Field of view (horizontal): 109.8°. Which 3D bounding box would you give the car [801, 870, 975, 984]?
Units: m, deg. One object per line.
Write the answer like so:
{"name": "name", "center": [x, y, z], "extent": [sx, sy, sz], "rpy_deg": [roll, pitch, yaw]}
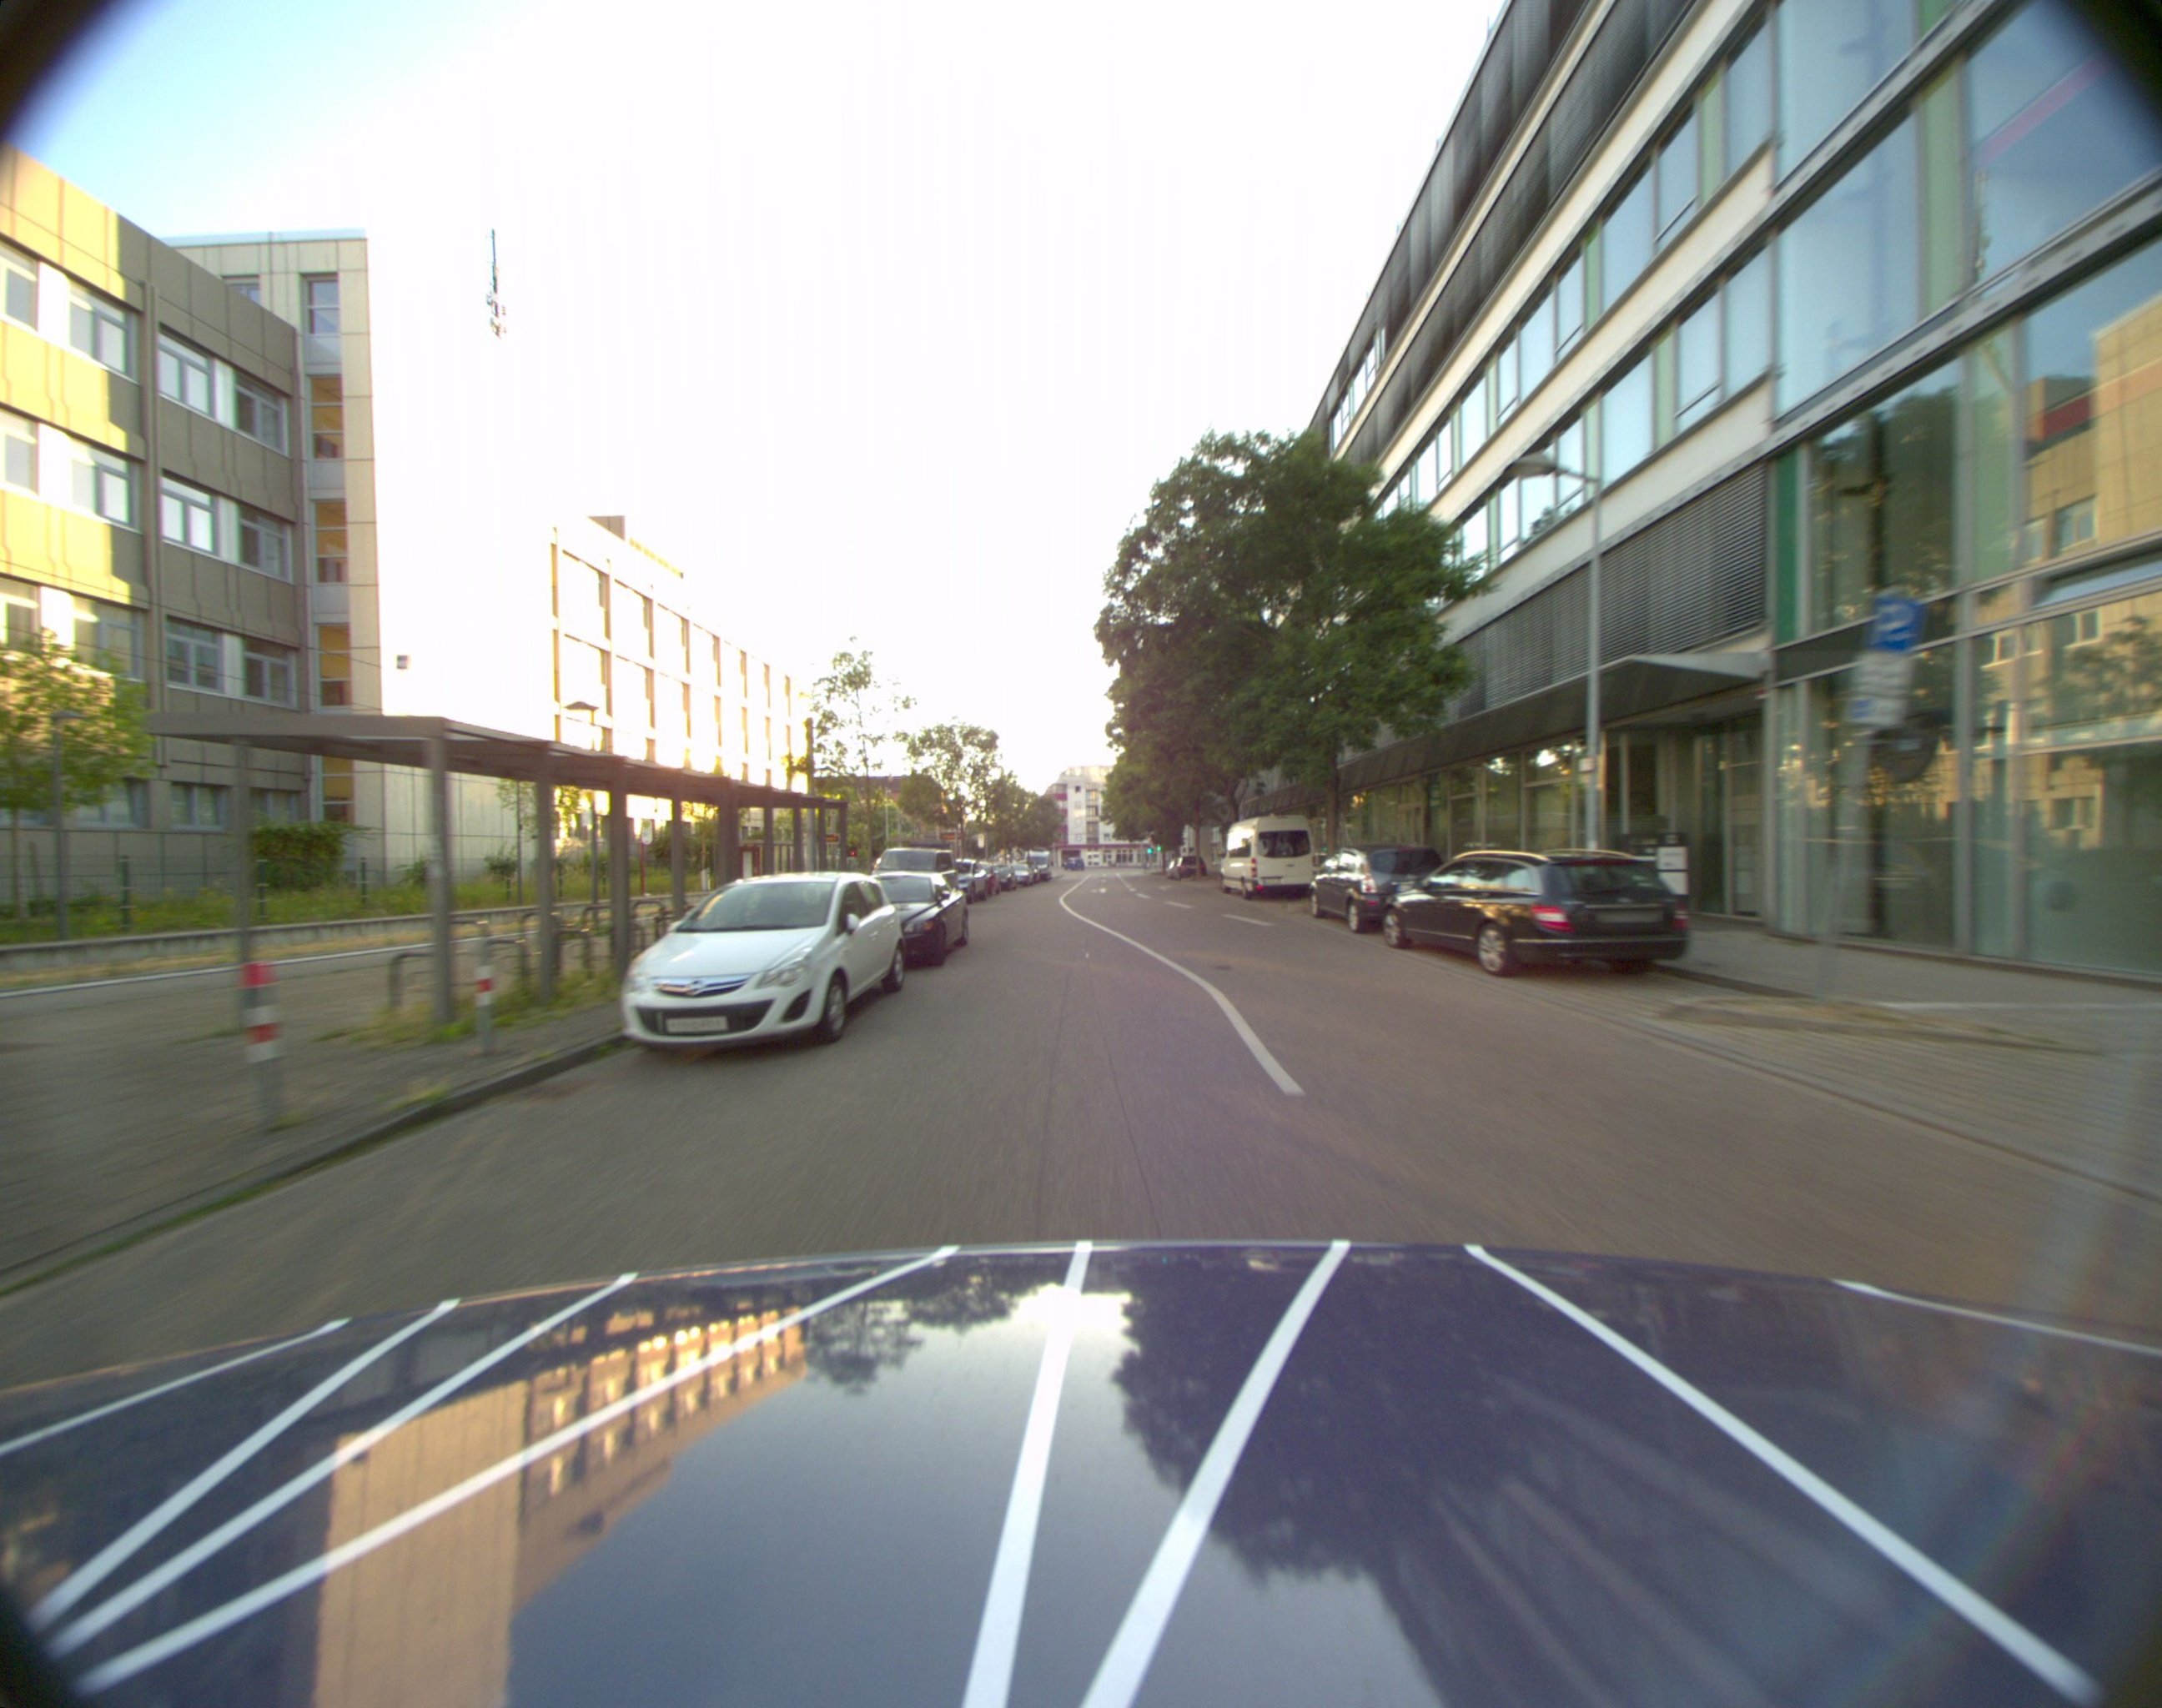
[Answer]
{"name": "car", "center": [-2.945, 1.046, 12.615], "extent": [1.792, 1.443, 4.515], "rpy_deg": [-1, 0, -1]}

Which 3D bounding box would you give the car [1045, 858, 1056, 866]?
{"name": "car", "center": [-5.630, 1.481, 138.524], "extent": [2.007, 1.448, 4.296], "rpy_deg": [-1, 0, -3]}

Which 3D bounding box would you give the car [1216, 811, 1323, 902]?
{"name": "car", "center": [6.180, 0.087, 25.916], "extent": [2.105, 2.648, 6.952], "rpy_deg": [-1, 0, 2]}

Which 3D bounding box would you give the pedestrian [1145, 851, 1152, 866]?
{"name": "pedestrian", "center": [7.808, 0.509, 88.139], "extent": [0.545, 1.691, 0.709], "rpy_deg": [-1, 1, 29]}

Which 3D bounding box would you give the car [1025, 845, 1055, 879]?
{"name": "car", "center": [-3.279, 0.628, 62.242], "extent": [2.056, 2.641, 5.434], "rpy_deg": [2, 0, 0]}

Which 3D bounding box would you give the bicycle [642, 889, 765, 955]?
{"name": "bicycle", "center": [-6.321, 1.133, 12.750], "extent": [1.810, 1.060, 0.487], "rpy_deg": [0, 1, 1]}

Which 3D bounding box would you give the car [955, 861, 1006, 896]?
{"name": "car", "center": [-4.597, 1.081, 35.264], "extent": [1.711, 1.484, 4.131], "rpy_deg": [1, 0, 1]}

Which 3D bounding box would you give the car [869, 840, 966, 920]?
{"name": "car", "center": [-4.818, 0.701, 23.077], "extent": [1.808, 2.164, 4.736], "rpy_deg": [1, 0, 1]}

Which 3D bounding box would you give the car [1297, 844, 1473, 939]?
{"name": "car", "center": [5.734, 0.648, 14.954], "extent": [1.848, 1.562, 4.268], "rpy_deg": [-1, 0, 2]}

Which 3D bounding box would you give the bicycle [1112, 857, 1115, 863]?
{"name": "bicycle", "center": [5.494, 0.992, 128.110], "extent": [0.515, 1.040, 1.903], "rpy_deg": [-1, 0, -1]}

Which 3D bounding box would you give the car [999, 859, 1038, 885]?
{"name": "car", "center": [-3.913, 1.134, 48.550], "extent": [1.800, 1.487, 4.782], "rpy_deg": [2, 0, 3]}

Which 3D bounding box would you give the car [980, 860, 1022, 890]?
{"name": "car", "center": [-4.245, 1.086, 40.787], "extent": [1.711, 1.443, 4.000], "rpy_deg": [1, 0, 1]}

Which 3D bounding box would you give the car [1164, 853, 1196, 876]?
{"name": "car", "center": [6.932, 0.712, 53.501], "extent": [1.707, 1.453, 4.627], "rpy_deg": [-4, 0, 2]}

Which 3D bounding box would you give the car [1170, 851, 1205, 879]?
{"name": "car", "center": [6.739, 0.692, 48.352], "extent": [1.593, 1.559, 4.472], "rpy_deg": [-4, 0, 2]}

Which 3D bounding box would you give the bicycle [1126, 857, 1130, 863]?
{"name": "bicycle", "center": [7.862, 0.975, 127.904], "extent": [0.515, 1.040, 1.903], "rpy_deg": [-1, 0, -1]}

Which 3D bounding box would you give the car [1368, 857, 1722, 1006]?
{"name": "car", "center": [5.463, 0.777, 9.770], "extent": [1.719, 1.443, 4.398], "rpy_deg": [-1, 0, -2]}

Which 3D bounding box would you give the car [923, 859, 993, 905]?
{"name": "car", "center": [-4.589, 0.997, 29.036], "extent": [1.711, 1.571, 4.480], "rpy_deg": [1, 0, 3]}

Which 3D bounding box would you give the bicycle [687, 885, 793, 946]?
{"name": "bicycle", "center": [-6.203, 1.113, 13.850], "extent": [1.723, 1.060, 0.421], "rpy_deg": [0, 1, 1]}

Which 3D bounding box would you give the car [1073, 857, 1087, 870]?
{"name": "car", "center": [-0.115, 1.264, 101.302], "extent": [1.752, 1.668, 4.274], "rpy_deg": [-2, 0, 2]}

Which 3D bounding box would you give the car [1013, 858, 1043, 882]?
{"name": "car", "center": [-3.762, 1.118, 54.644], "extent": [1.711, 1.633, 4.267], "rpy_deg": [1, 0, 1]}

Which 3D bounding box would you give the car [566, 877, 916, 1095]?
{"name": "car", "center": [-2.954, 1.030, 7.688], "extent": [1.680, 1.443, 4.187], "rpy_deg": [-1, 0, -1]}
